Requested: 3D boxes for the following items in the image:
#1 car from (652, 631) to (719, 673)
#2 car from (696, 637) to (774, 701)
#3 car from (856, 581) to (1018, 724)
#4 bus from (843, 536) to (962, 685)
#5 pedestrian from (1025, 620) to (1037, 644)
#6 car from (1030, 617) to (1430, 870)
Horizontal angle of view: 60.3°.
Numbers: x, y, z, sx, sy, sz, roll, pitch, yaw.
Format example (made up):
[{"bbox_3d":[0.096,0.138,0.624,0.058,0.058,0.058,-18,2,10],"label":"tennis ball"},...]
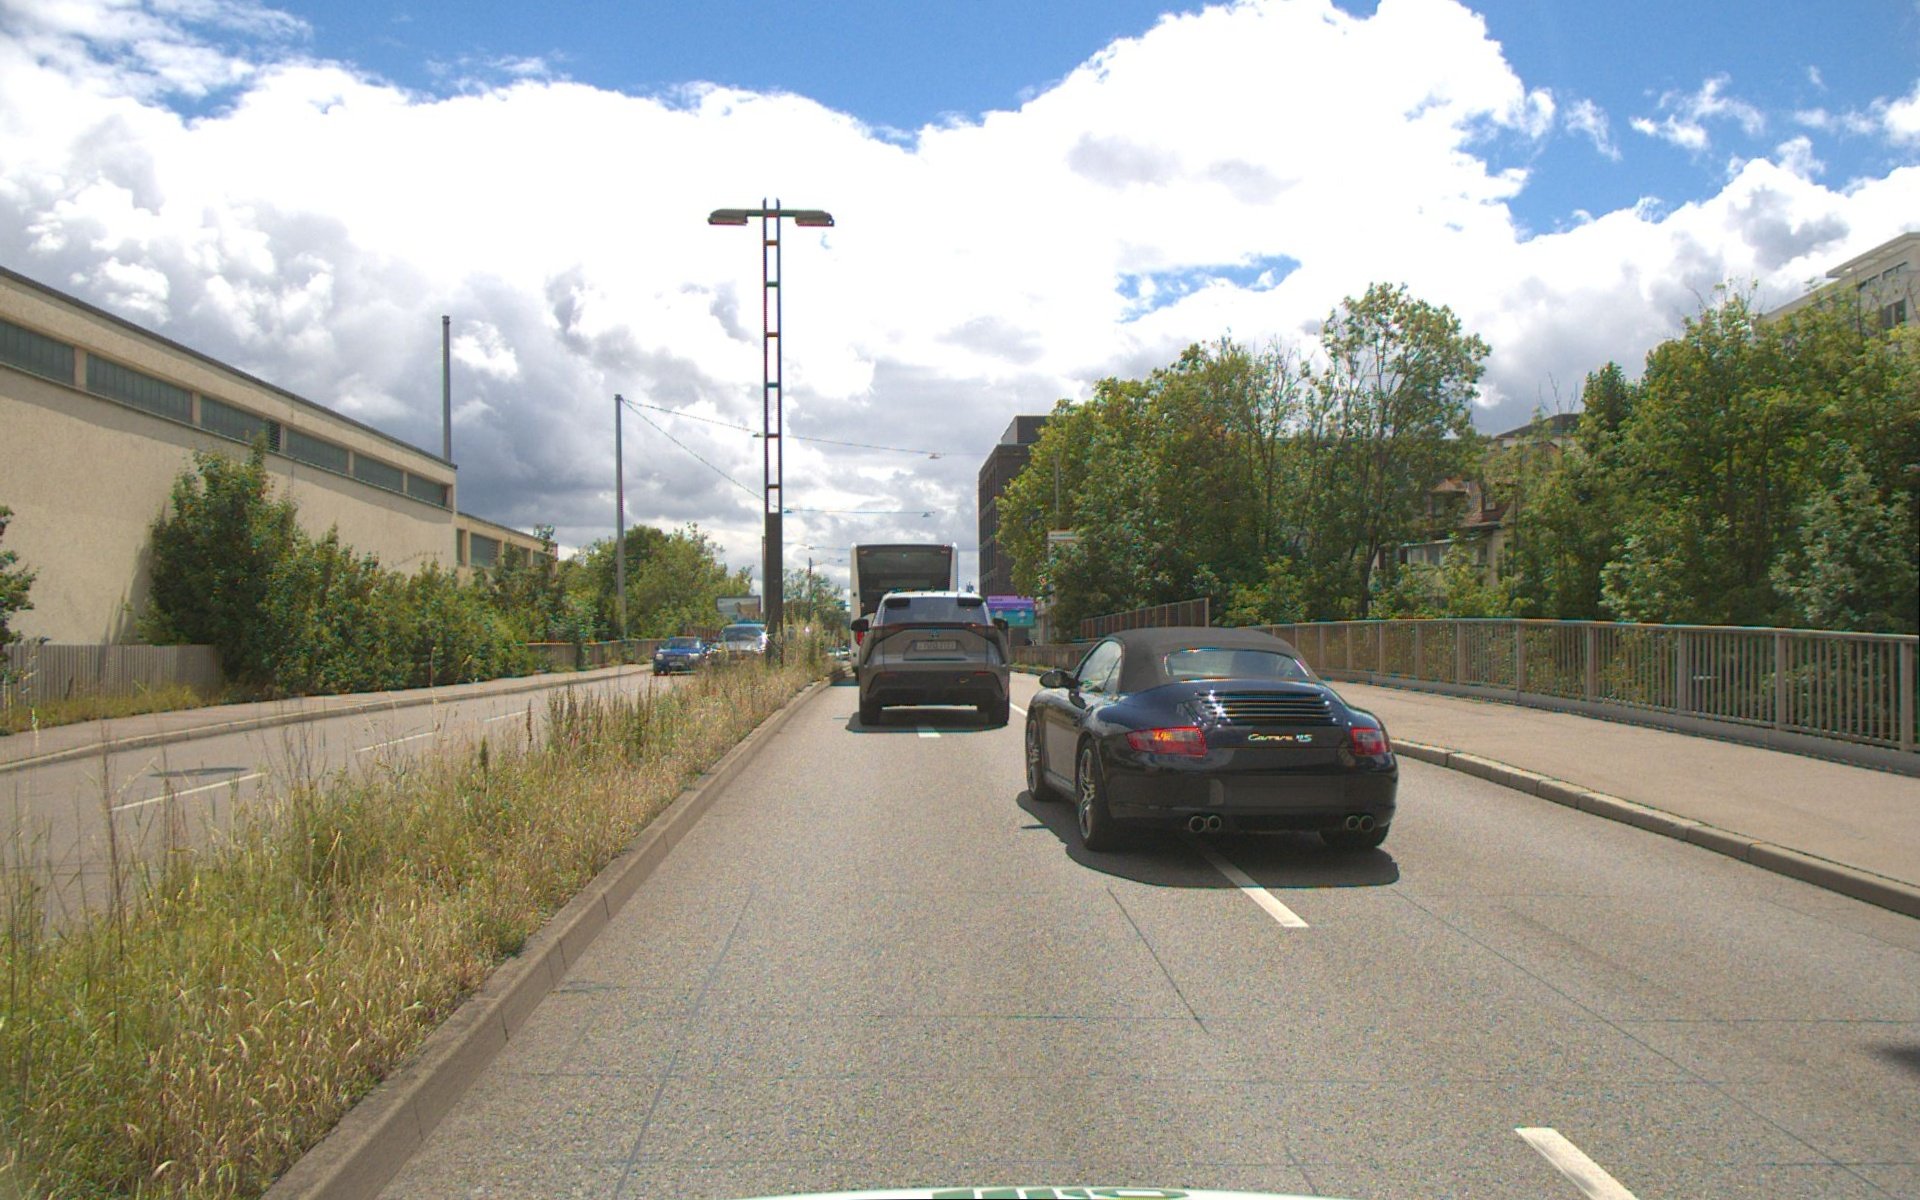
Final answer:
[{"bbox_3d":[-9.411,1.773,56.940,1.719,1.298,3.998,-3,-1,-2],"label":"car"},{"bbox_3d":[-6.651,2.005,49.338,1.840,1.655,4.441,-2,0,-2],"label":"car"},{"bbox_3d":[-0.303,0.606,21.128,1.841,1.622,4.228,1,0,-1],"label":"car"},{"bbox_3d":[-1.445,0.111,43.314,2.635,3.312,12.055,1,1,-2],"label":"bus"},{"bbox_3d":[5.107,2.284,118.744,0.666,1.726,0.598,-1,-2,23],"label":"pedestrian"},{"bbox_3d":[1.549,0.794,10.941,1.686,1.297,4.084,0,0,-5],"label":"car"}]
